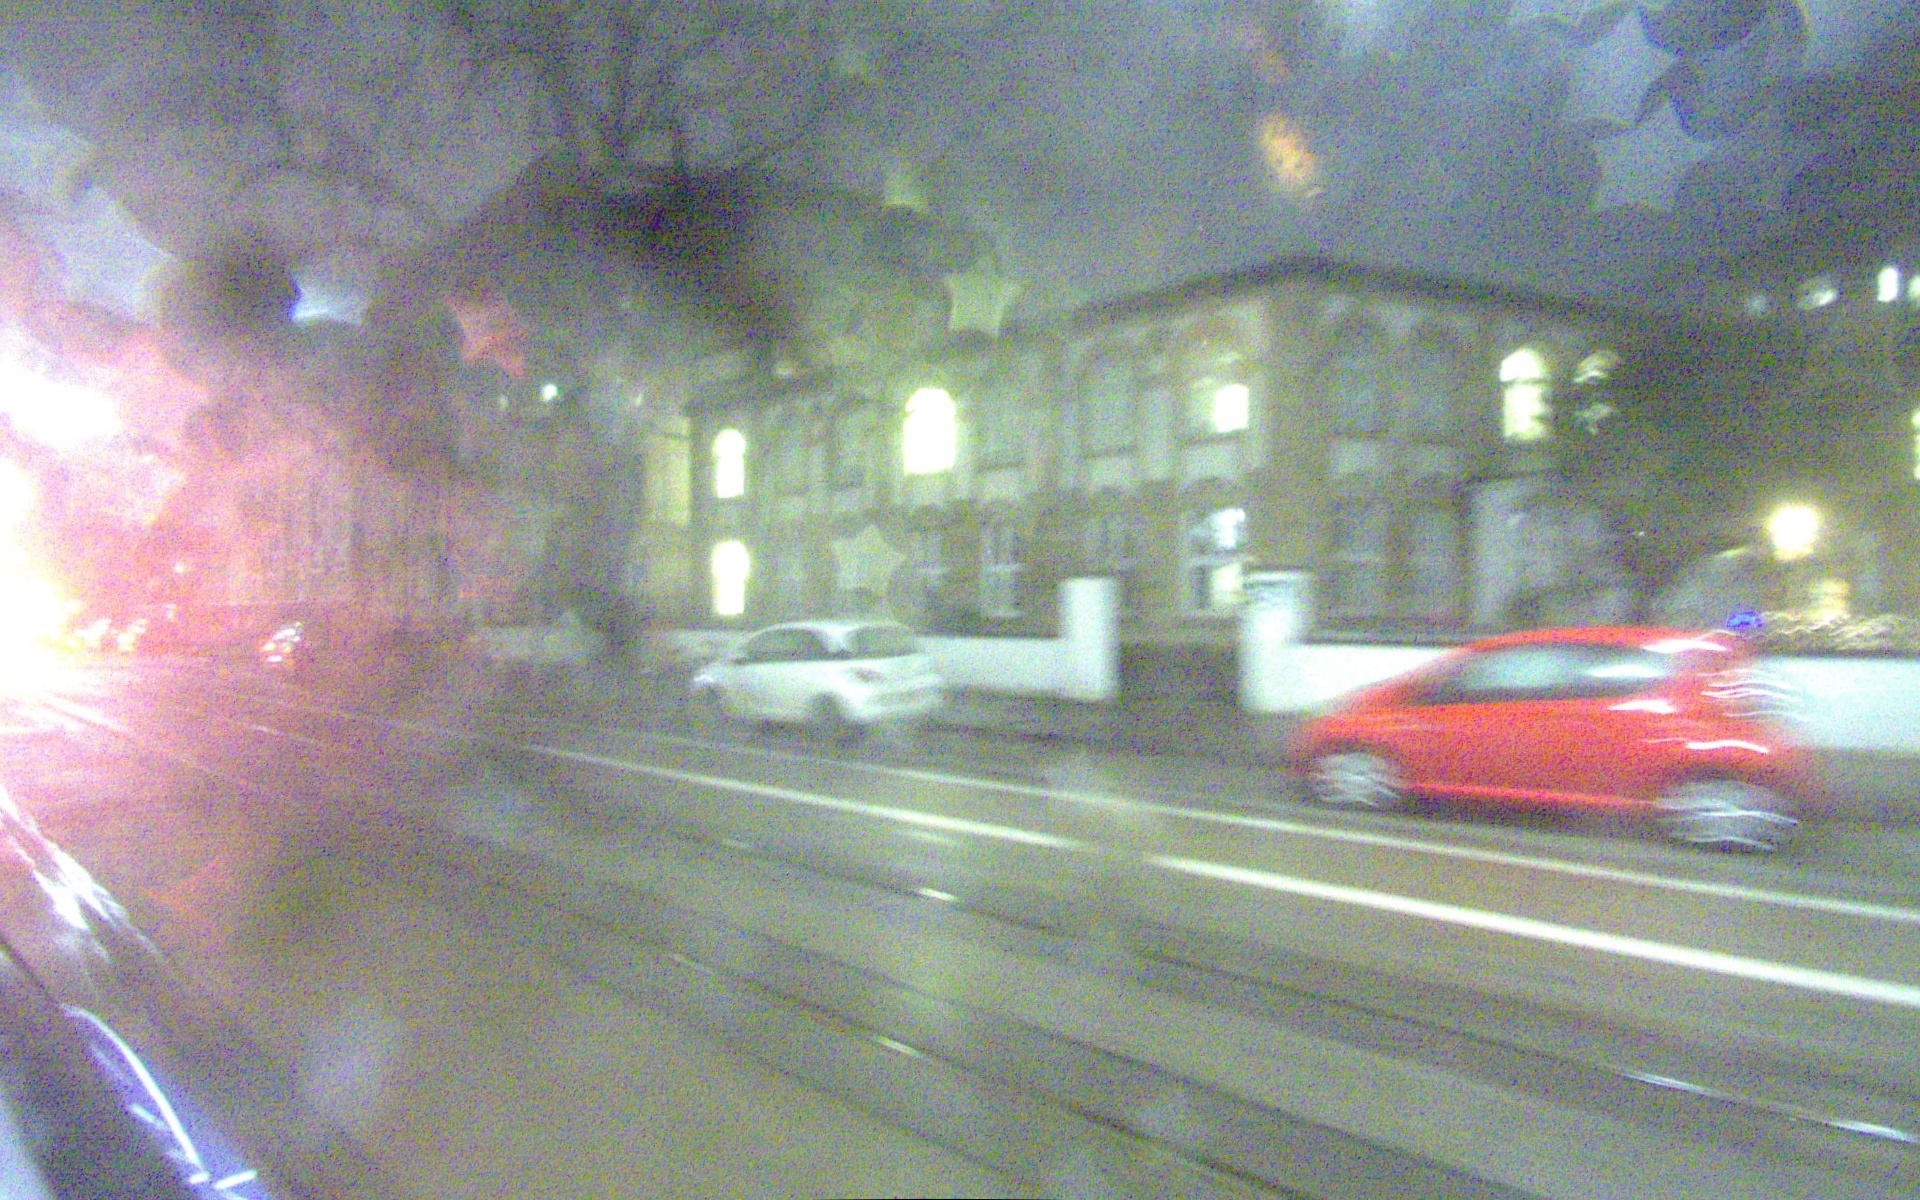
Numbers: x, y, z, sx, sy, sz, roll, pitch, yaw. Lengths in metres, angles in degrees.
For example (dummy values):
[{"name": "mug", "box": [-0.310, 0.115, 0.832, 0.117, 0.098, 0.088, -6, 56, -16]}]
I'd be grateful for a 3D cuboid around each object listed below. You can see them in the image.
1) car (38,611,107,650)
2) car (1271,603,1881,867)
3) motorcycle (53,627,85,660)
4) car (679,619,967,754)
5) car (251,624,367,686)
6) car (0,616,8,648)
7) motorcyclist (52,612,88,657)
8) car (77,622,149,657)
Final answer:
[{"name": "car", "box": [-47.044, 1.608, 53.595, 5.306, 1.839, 1.973, -2, 1, 41]}, {"name": "car", "box": [4.465, 0.867, 7.719, 3.615, 1.518, 1.625, -3, -1, 39]}, {"name": "motorcycle", "box": [-35.569, 1.724, 40.424, 0.806, 1.239, 2.004, 6, -4, -40]}, {"name": "car", "box": [-1.878, 1.013, 13.265, 3.805, 1.439, 1.593, 0, 1, 40]}, {"name": "car", "box": [-17.702, 1.428, 27.460, 4.000, 1.397, 1.650, 0, 2, 42]}, {"name": "car", "box": [-58.443, 1.895, 60.664, 1.903, 1.894, 4.641, 2, -3, -43]}, {"name": "motorcyclist", "box": [-35.600, 1.379, 40.512, 0.907, 1.753, 1.138, 6, -4, -40]}, {"name": "car", "box": [-38.404, 1.748, 45.843, 4.137, 1.417, 1.748, -1, 1, 40]}]
